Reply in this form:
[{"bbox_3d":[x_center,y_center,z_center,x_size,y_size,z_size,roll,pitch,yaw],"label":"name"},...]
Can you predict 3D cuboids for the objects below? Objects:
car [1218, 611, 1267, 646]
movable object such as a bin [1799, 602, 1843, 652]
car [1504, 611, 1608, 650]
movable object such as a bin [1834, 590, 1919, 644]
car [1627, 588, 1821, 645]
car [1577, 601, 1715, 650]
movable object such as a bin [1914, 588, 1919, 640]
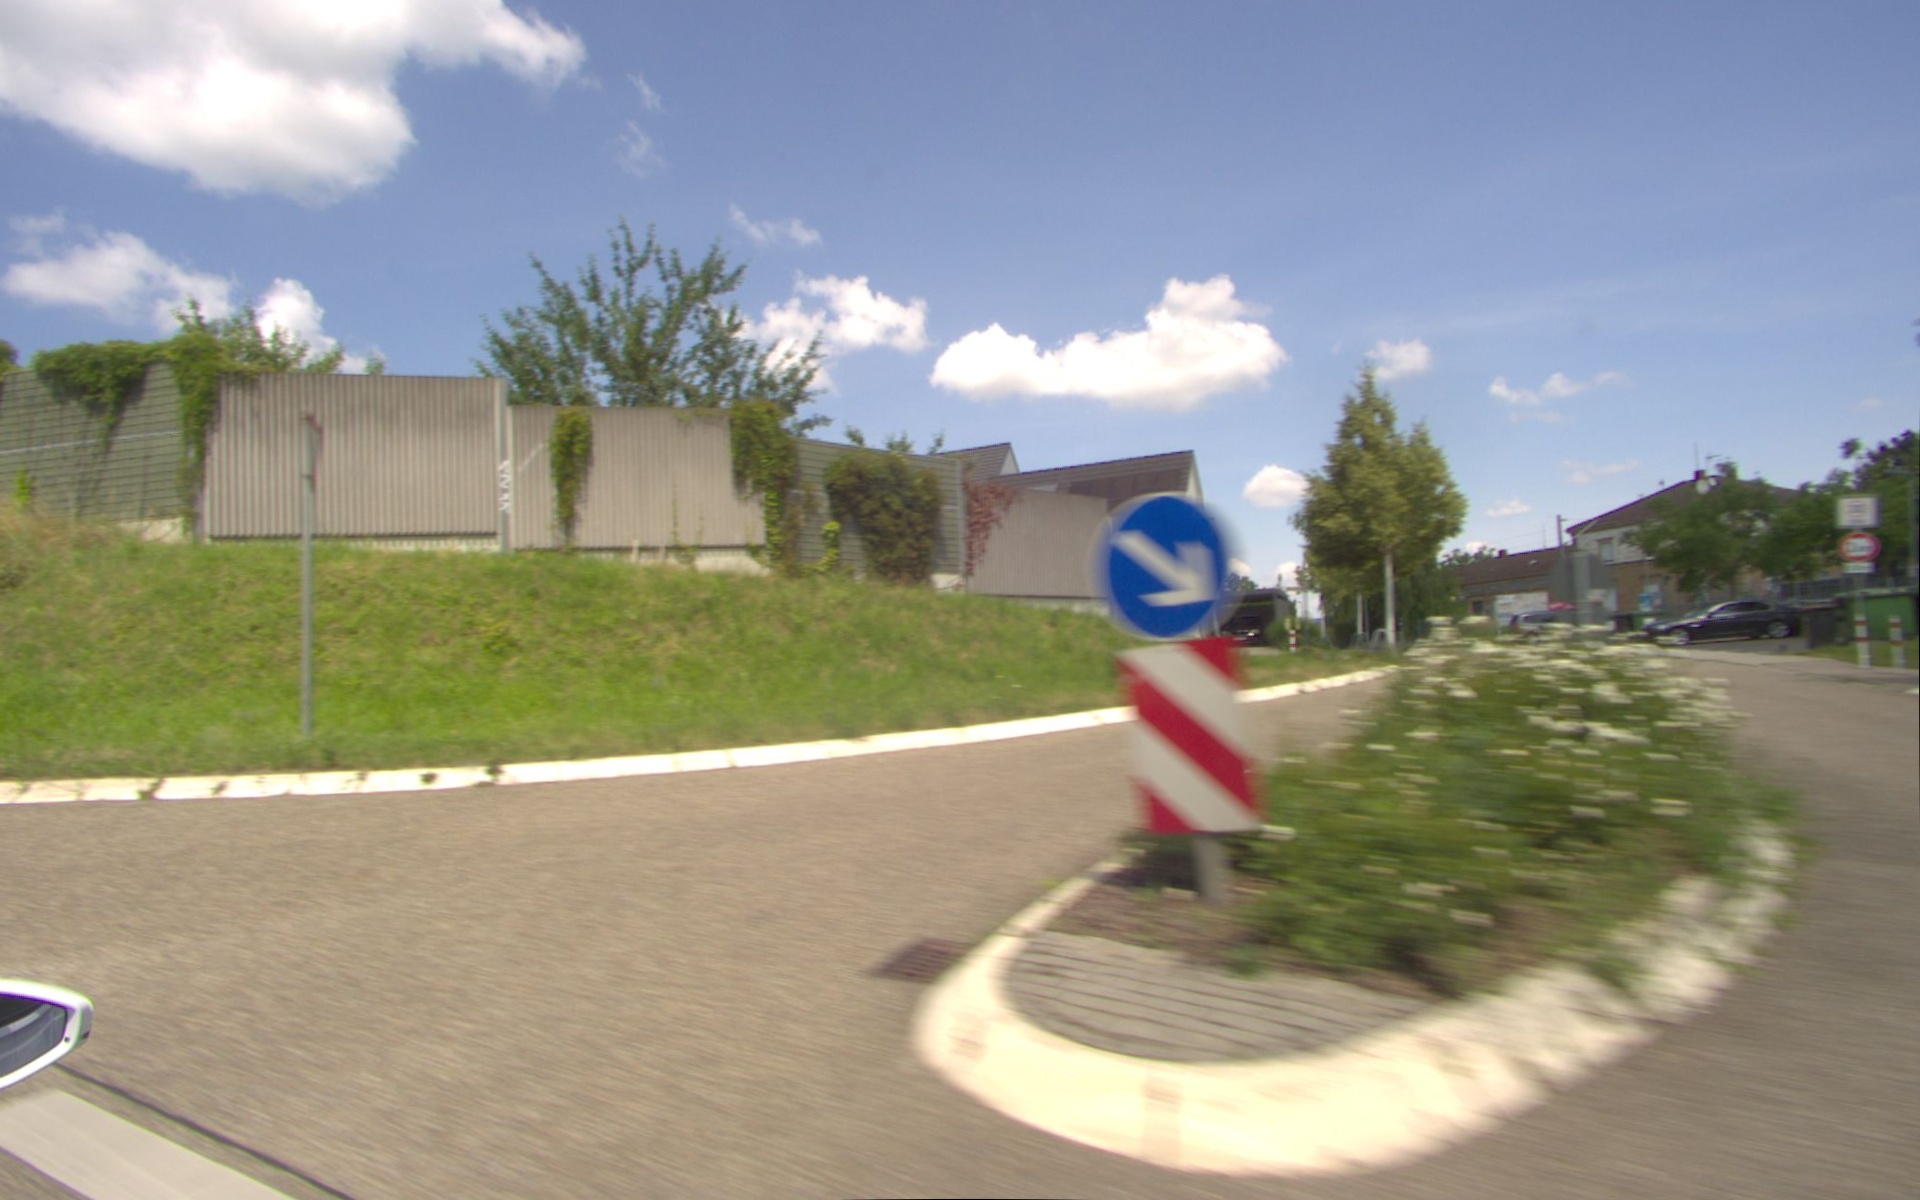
[{"bbox_3d":[12.971,1.351,45.846,1.863,1.422,4.233,-1,-4,20],"label":"car"},{"bbox_3d":[19.748,0.622,22.979,0.617,1.093,0.623,-1,-5,30],"label":"movable object such as a bin"},{"bbox_3d":[30.203,1.573,50.915,4.152,1.789,2.000,0,-5,18],"label":"car"},{"bbox_3d":[20.620,0.399,22.453,1.346,1.116,0.965,-2,-6,30],"label":"movable object such as a bin"},{"bbox_3d":[26.778,0.608,35.322,4.971,1.789,2.000,0,-5,18],"label":"car"},{"bbox_3d":[27.702,1.051,40.616,4.152,1.789,2.000,0,-5,18],"label":"car"},{"bbox_3d":[21.661,0.280,22.013,0.781,1.131,0.758,-1,-5,30],"label":"movable object such as a bin"}]
